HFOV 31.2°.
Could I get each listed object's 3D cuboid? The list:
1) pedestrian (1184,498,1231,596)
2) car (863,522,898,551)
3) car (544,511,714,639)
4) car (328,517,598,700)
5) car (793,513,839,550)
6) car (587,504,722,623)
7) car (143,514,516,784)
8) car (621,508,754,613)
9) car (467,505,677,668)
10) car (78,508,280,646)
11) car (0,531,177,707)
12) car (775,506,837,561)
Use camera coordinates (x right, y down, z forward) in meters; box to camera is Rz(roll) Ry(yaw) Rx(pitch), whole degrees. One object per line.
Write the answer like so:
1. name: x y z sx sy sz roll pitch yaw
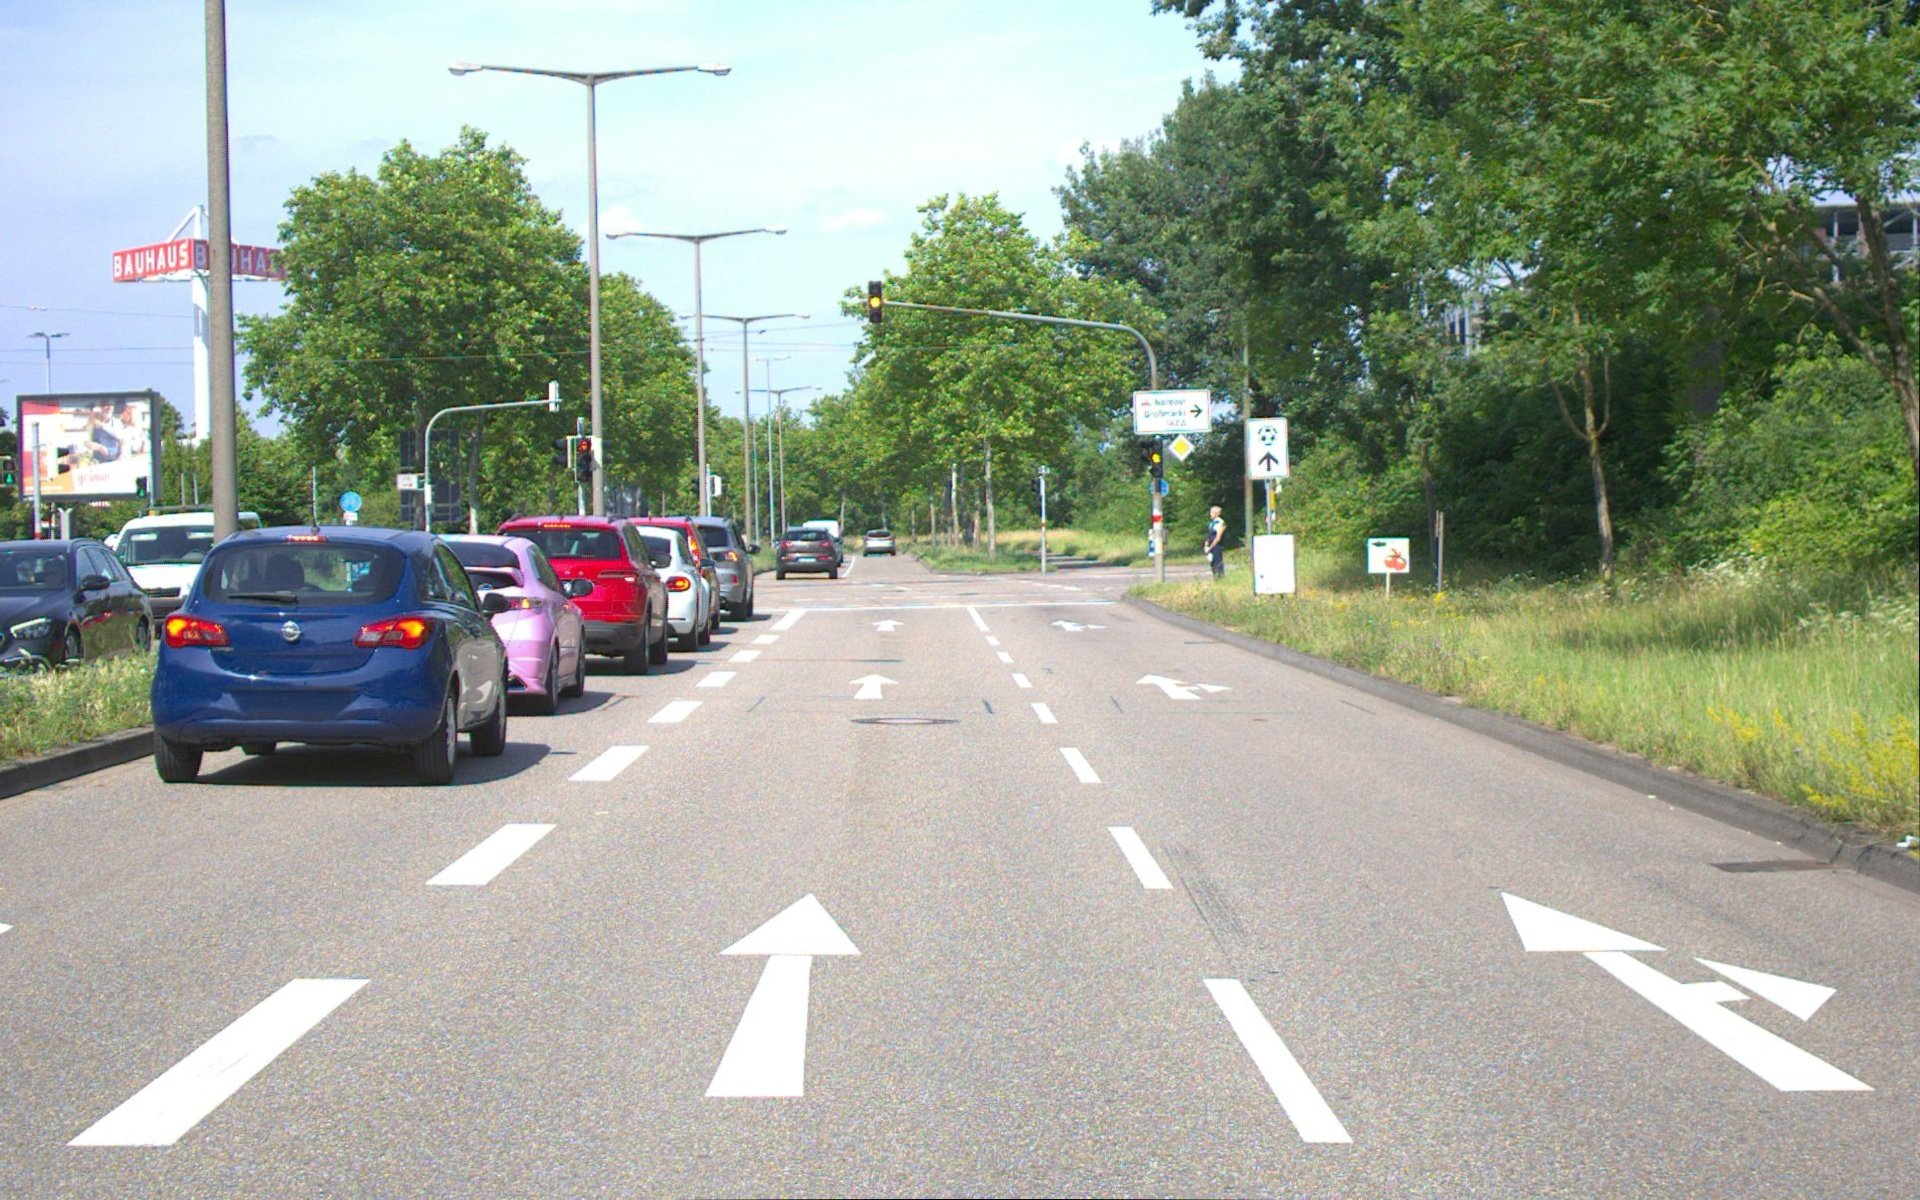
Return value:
1. pedestrian: 4.978 -1.074 69.212 0.837 1.926 0.772 -1 3 -4
2. car: -4.405 -3.555 191.256 1.867 1.568 4.000 -2 1 -1
3. car: -4.007 -0.341 42.158 1.766 1.474 4.136 1 1 -1
4. car: -4.064 0.013 28.705 1.702 1.385 4.473 1 1 -1
5. car: -6.784 -3.225 161.997 1.993 1.702 4.263 -1 1 0
6. car: -4.285 -0.513 48.651 1.628 1.590 3.918 -1 0 -1
7. car: -3.764 0.224 21.128 1.626 1.478 4.049 1 1 -1
8. car: -4.324 -0.654 55.107 1.881 1.612 4.213 0 1 -1
9. car: -3.979 -0.187 35.861 1.782 1.587 4.594 0 1 -1
10. car: -12.138 -0.407 53.769 1.993 2.006 5.214 -1 2 -1
11. car: -8.919 0.138 32.460 1.993 1.525 4.683 -2 1 -1
12. car: -4.696 -2.052 105.204 1.736 1.530 4.001 0 3 -1
